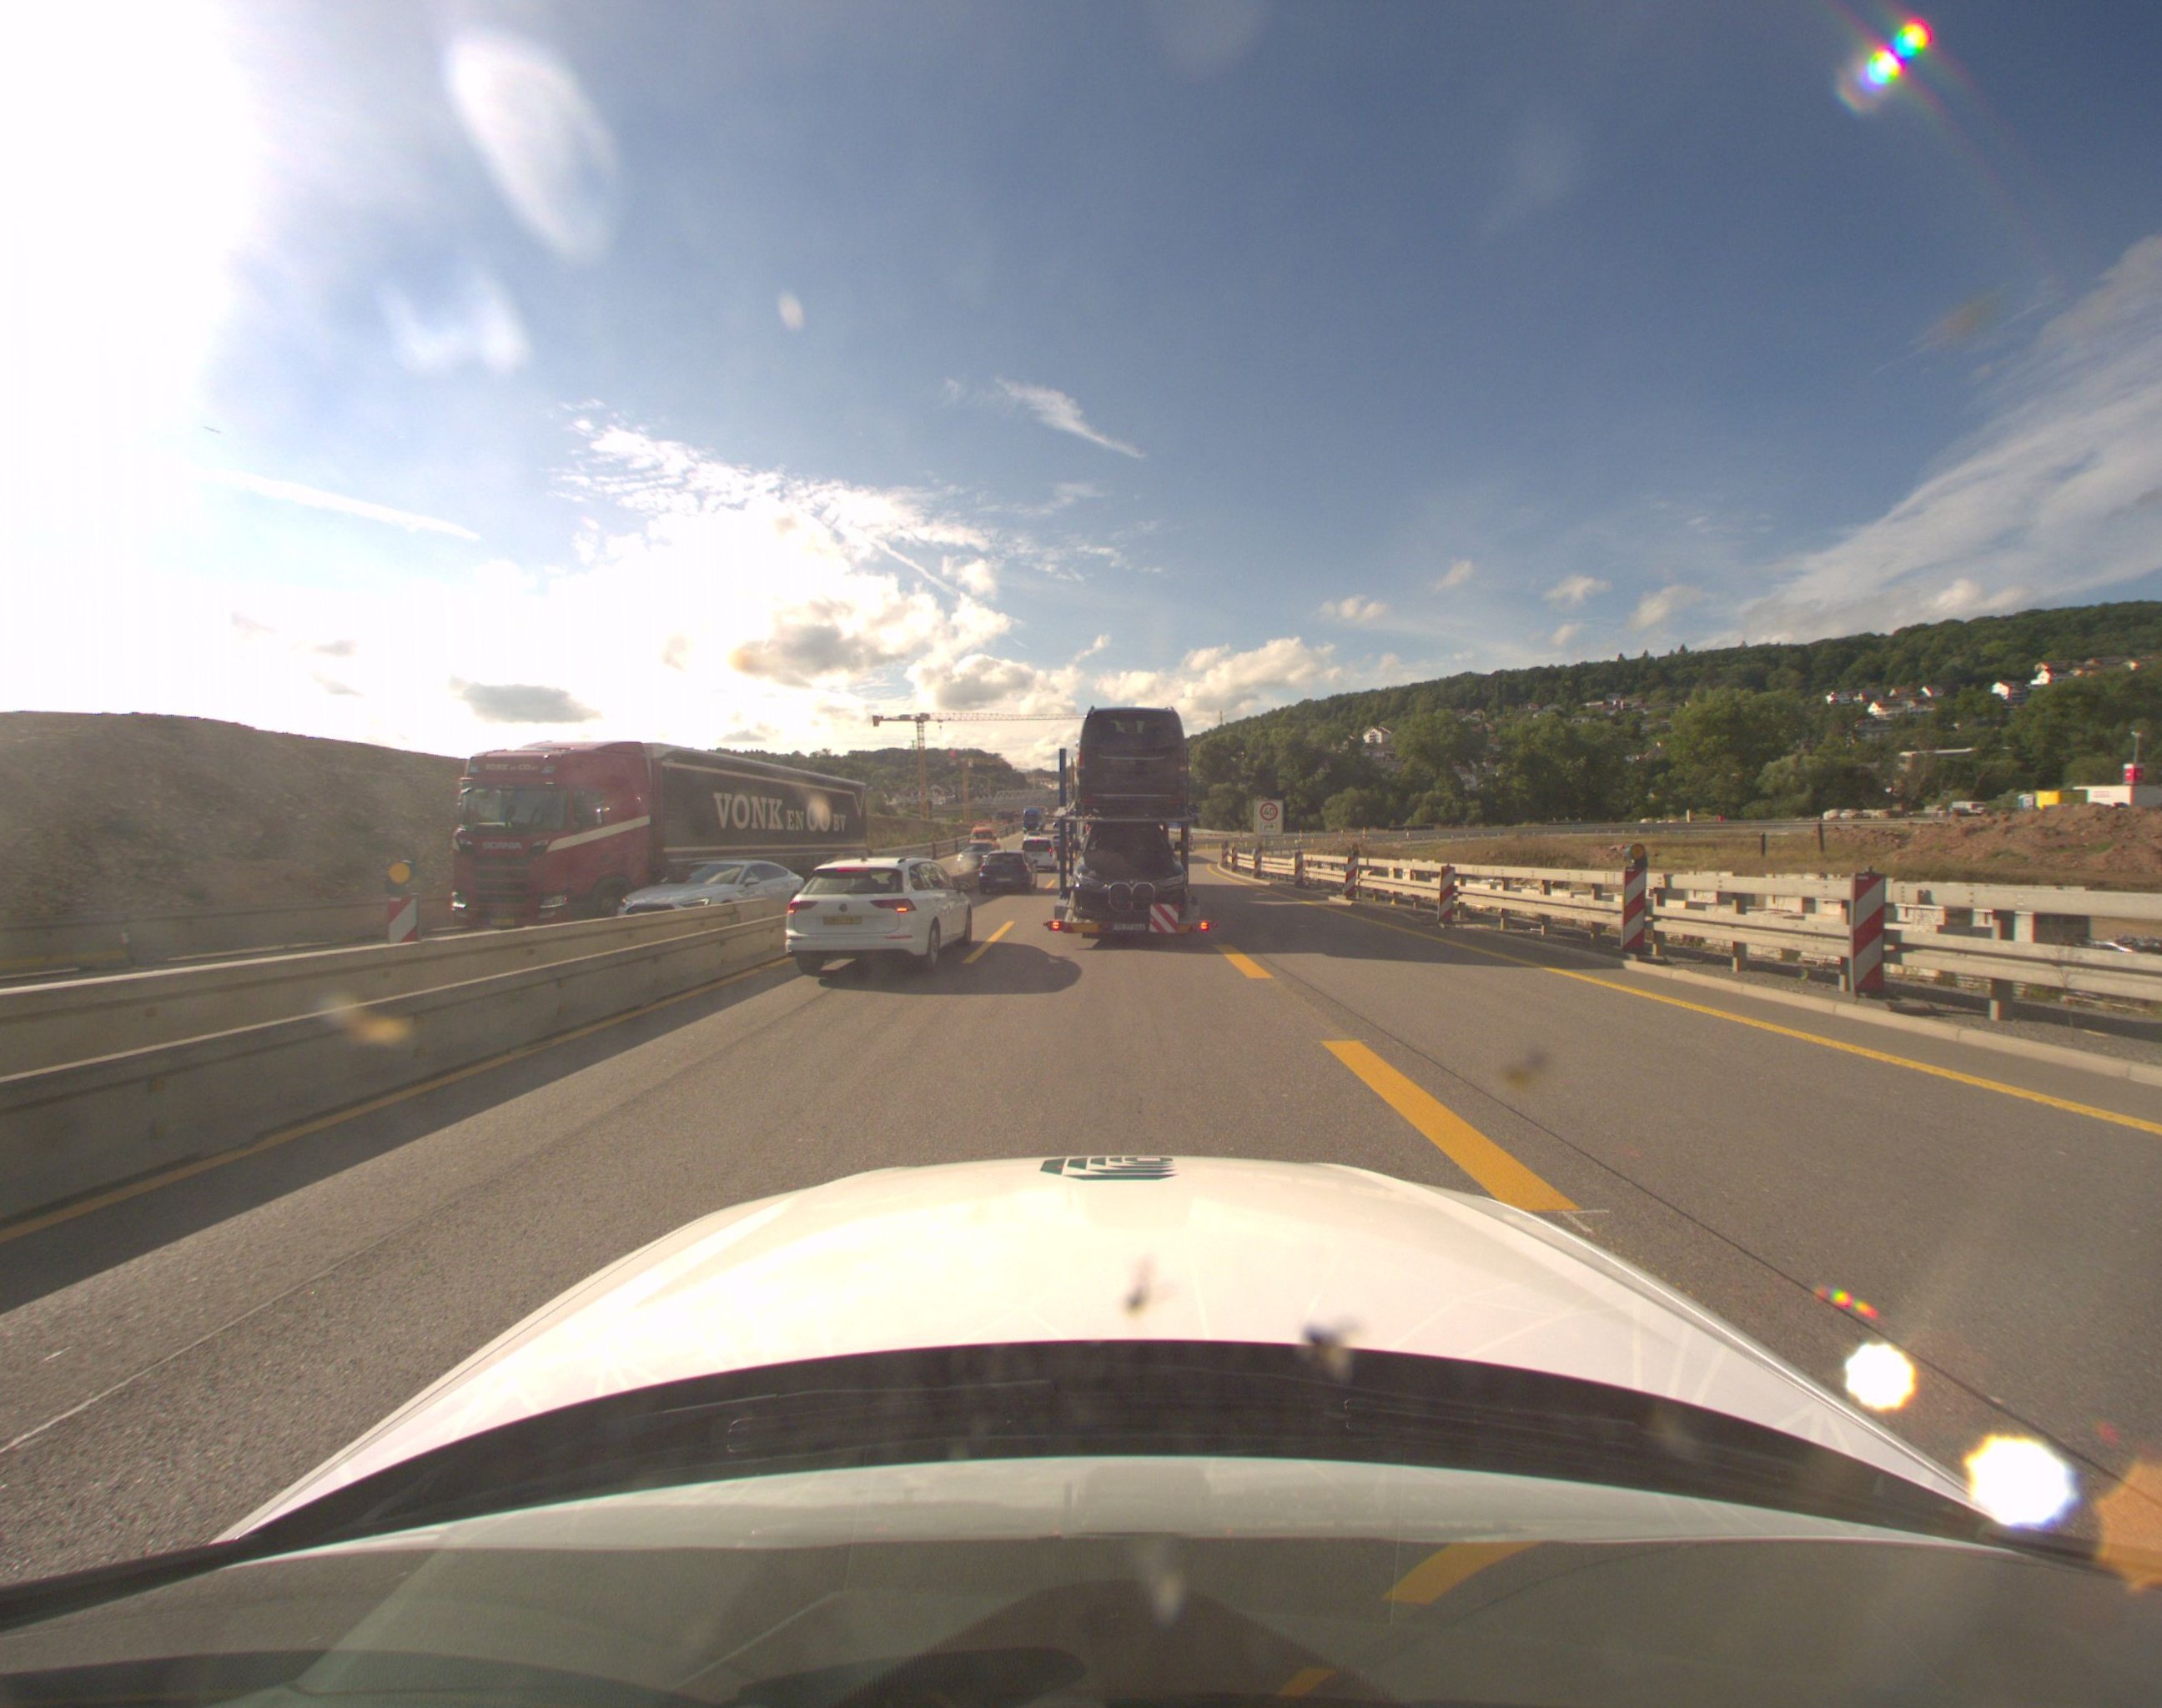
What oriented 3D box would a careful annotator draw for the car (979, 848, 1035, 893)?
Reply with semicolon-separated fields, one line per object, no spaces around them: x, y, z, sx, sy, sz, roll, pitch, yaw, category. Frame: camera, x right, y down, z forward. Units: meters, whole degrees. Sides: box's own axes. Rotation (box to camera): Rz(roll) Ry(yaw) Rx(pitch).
-2.486;0.530;28.096;1.717;1.422;3.997;0;0;-2;car

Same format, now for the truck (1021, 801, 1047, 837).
-7.324;-5.389;129.578;2.810;4.789;13.061;0;-1;3;truck

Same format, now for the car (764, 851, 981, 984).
-2.663;0.714;11.573;1.763;1.491;4.519;0;0;2;car

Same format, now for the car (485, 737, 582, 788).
-32.741;-5.419;48.956;1.987;2.140;5.322;-5;-1;1;car

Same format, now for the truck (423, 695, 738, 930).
-10.734;-0.812;18.432;2.902;4.387;6.292;1;0;3;truck

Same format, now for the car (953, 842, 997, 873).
-5.862;0.205;45.456;1.838;1.648;4.236;0;0;0;car

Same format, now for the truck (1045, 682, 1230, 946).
1.010;-0.641;21.721;2.743;3.954;18.892;1;0;1;truck

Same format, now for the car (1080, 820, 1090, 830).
0.760;-5.351;151.135;1.839;1.648;4.503;0;0;-1;car

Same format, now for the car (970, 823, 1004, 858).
-8.118;-1.259;71.080;1.985;2.878;6.070;0;3;2;car

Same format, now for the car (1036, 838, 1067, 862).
-2.035;-0.233;58.067;1.987;1.556;4.401;0;-1;1;car

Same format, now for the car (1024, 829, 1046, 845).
-4.933;-1.875;87.560;1.986;1.683;4.002;0;2;1;car

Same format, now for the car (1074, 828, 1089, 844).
0.033;-2.565;115.051;1.986;2.014;4.001;0;-1;2;car

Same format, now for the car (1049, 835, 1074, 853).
-1.699;-0.917;73.746;1.985;1.552;4.002;0;0;2;car

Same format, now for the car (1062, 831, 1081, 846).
-1.088;-1.795;92.240;1.986;1.666;4.001;0;1;1;car

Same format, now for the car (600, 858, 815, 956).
-7.114;0.914;16.146;1.835;1.648;4.511;0;0;5;car

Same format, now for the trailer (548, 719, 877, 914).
-10.158;-0.918;25.467;2.963;4.422;13.834;1;0;5;trailer

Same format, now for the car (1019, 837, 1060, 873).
-2.178;0.098;43.745;1.815;1.792;4.003;0;-1;3;car
